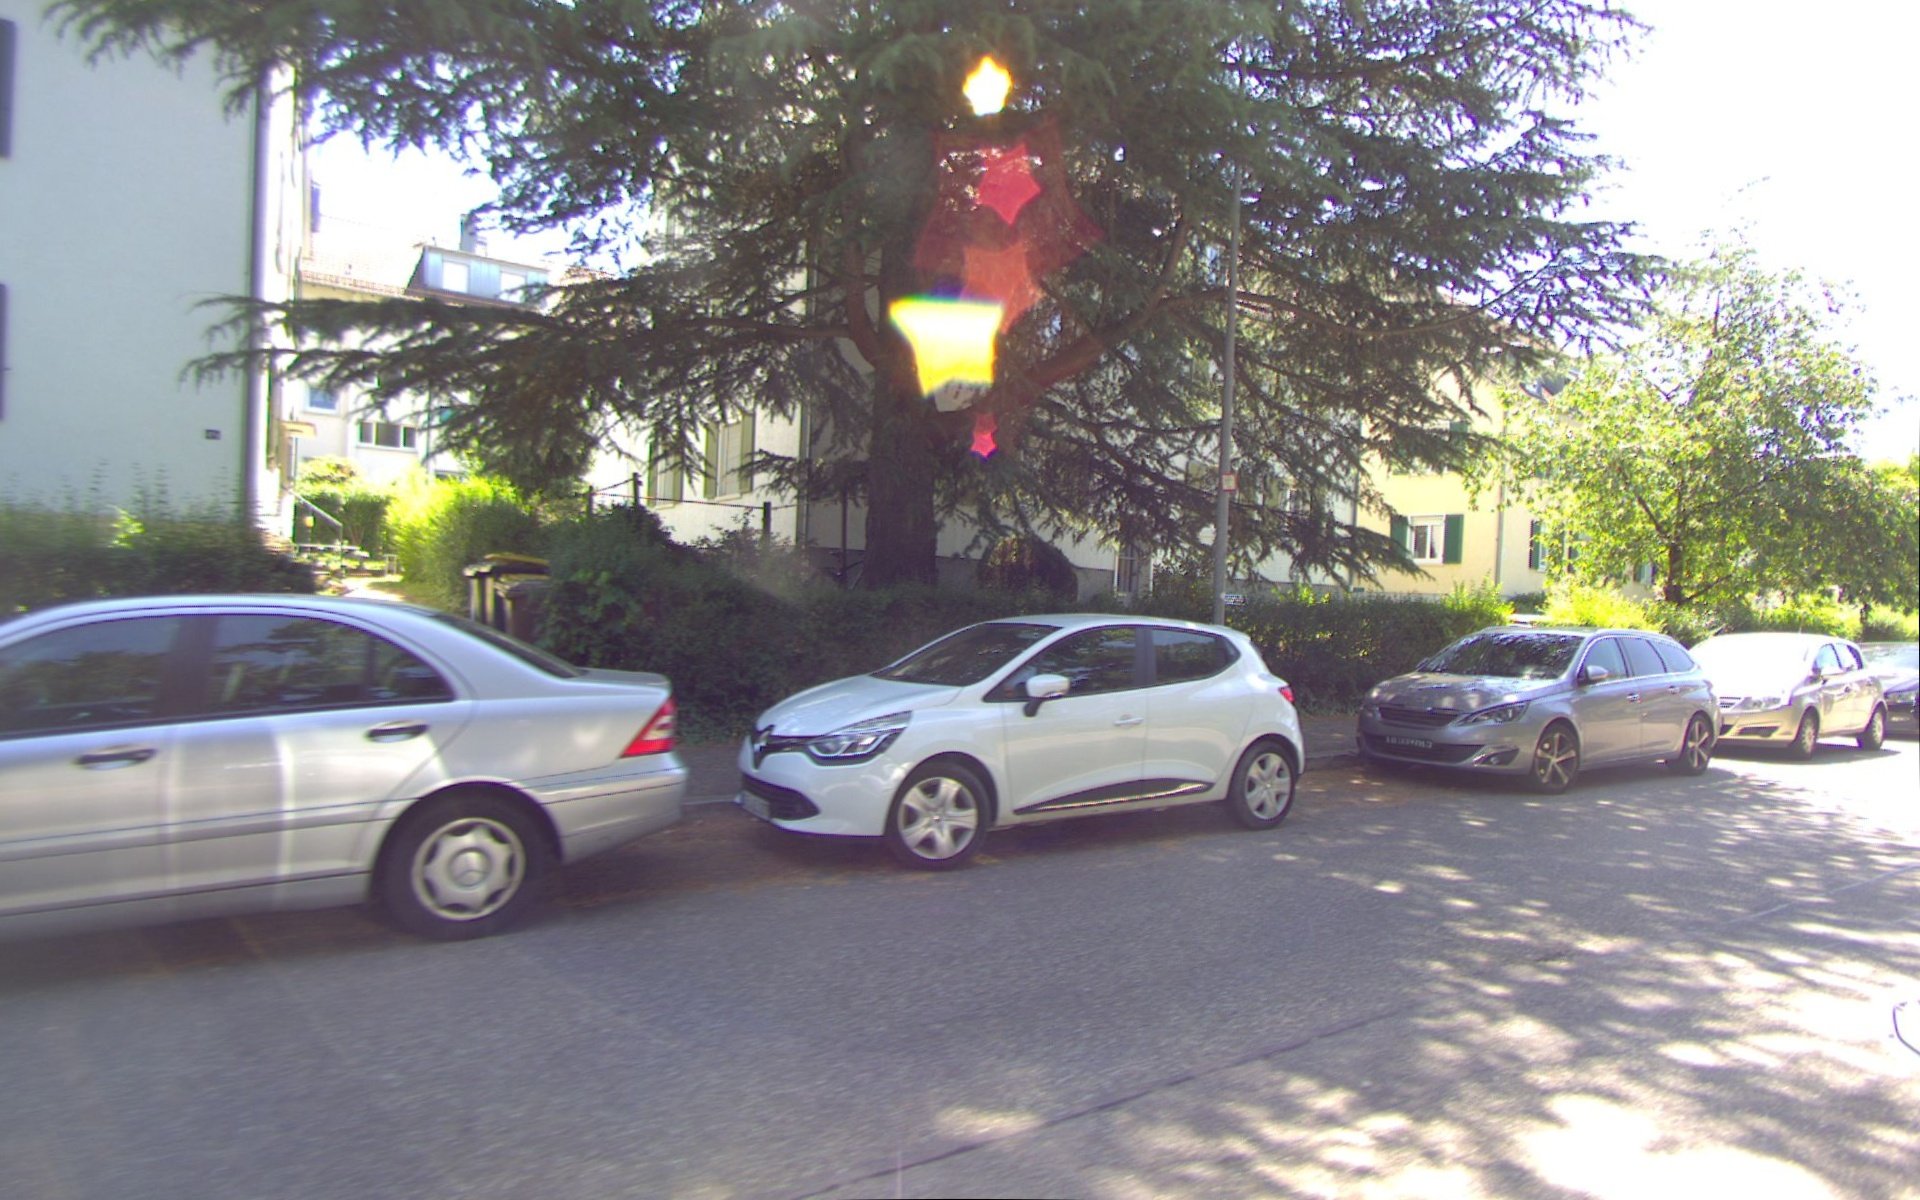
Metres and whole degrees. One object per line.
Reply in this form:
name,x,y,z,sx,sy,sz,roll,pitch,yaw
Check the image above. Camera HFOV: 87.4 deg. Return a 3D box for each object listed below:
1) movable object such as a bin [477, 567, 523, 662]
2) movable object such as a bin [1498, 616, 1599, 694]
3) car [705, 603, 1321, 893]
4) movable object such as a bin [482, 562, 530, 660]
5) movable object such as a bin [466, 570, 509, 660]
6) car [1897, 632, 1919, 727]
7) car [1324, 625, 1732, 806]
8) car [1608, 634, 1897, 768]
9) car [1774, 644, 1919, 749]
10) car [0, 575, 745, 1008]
movable object such as a bin,-4.578,0.142,9.996,0.340,0.914,0.405,2,0,-33
movable object such as a bin,9.794,0.888,16.721,1.279,1.215,0.968,1,-1,42
car,0.431,0.810,6.840,3.851,1.461,1.788,2,-1,-31
movable object such as a bin,-4.322,0.103,9.563,0.340,0.914,0.405,2,0,-33
movable object such as a bin,-4.914,0.151,10.446,0.340,0.914,0.406,2,0,-32
car,18.706,1.456,18.273,3.751,1.661,1.670,2,-1,-35
car,5.802,1.030,10.132,4.224,1.461,1.787,2,-1,-32
car,10.301,1.219,13.016,3.742,1.461,1.787,2,-1,-32
car,14.552,1.436,15.734,3.747,1.419,1.672,2,-1,-32
car,-3.367,0.664,4.358,4.425,1.461,1.787,2,-1,-31
